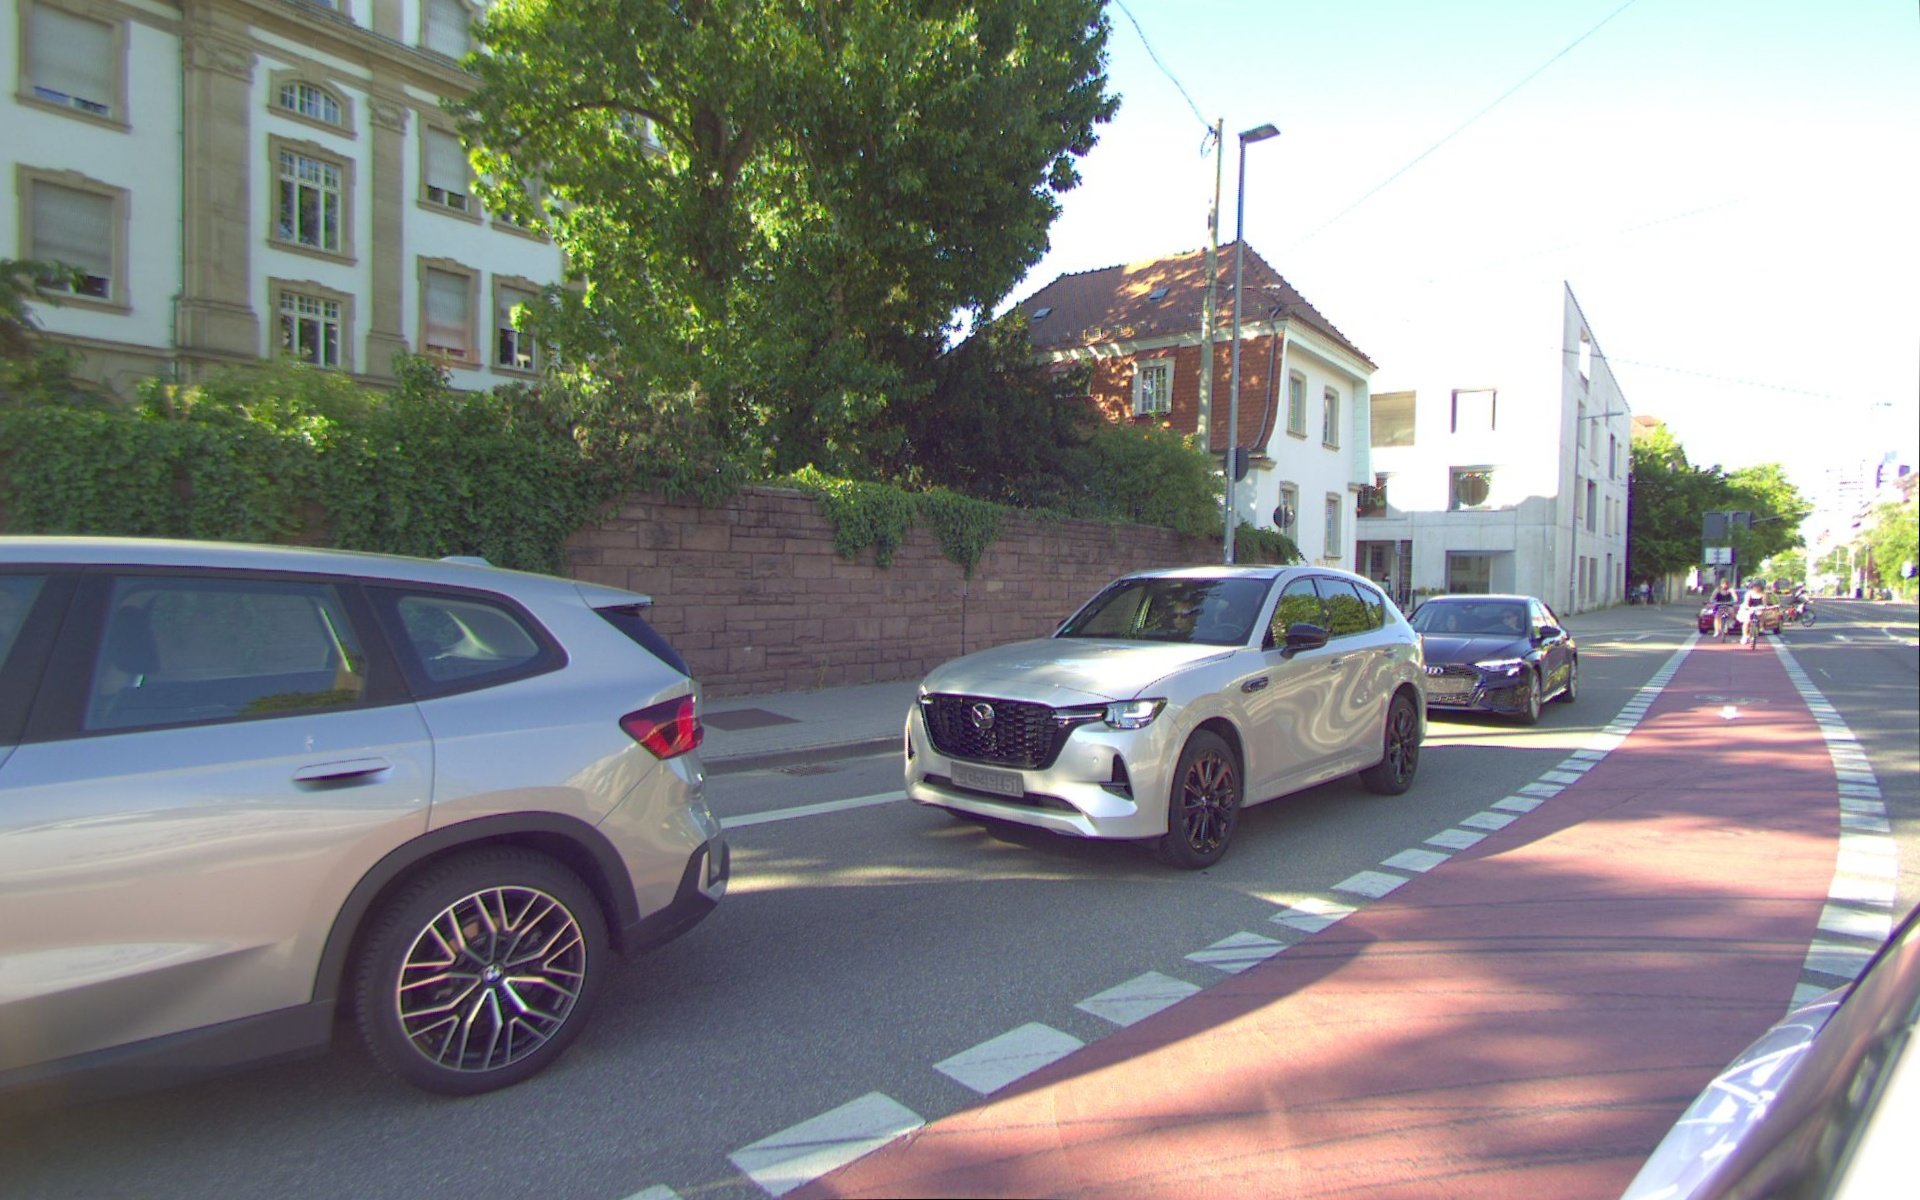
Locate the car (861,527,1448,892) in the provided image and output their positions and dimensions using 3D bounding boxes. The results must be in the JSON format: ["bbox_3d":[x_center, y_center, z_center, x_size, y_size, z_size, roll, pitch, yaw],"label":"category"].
[{"bbox_3d":[1.630,0.487,7.059,1.940,1.713,4.460,0,1,44],"label":"car"}]

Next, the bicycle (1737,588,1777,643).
[{"bbox_3d":[19.529,0.351,24.779,0.673,1.265,2.421,2,2,40],"label":"bicycle"}]

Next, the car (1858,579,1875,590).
[{"bbox_3d":[139.268,-2.366,155.534,1.640,1.580,3.602,0,0,36],"label":"car"}]

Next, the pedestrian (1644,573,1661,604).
[{"bbox_3d":[38.839,-0.646,56.738,0.673,1.668,0.806,1,1,40],"label":"pedestrian"}]

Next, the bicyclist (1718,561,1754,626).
[{"bbox_3d":[20.511,-0.190,26.741,0.673,1.667,1.014,2,2,40],"label":"bicyclist"}]

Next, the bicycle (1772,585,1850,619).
[{"bbox_3d":[33.816,0.086,40.228,2.411,1.266,0.676,1,1,3],"label":"bicycle"}]

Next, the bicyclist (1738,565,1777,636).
[{"bbox_3d":[19.482,-0.005,24.708,0.673,1.667,1.014,2,2,40],"label":"bicyclist"}]

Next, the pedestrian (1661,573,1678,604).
[{"bbox_3d":[39.359,-0.643,56.167,0.673,1.668,0.806,1,1,40],"label":"pedestrian"}]

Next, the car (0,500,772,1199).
[{"bbox_3d":[-2.875,0.574,2.925,4.248,1.614,1.792,0,0,-36],"label":"car"}]

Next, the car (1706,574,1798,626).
[{"bbox_3d":[25.501,-0.014,32.552,3.585,1.580,1.648,-1,0,-40],"label":"car"}]

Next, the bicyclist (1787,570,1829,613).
[{"bbox_3d":[33.689,-0.345,40.224,1.010,1.667,0.675,1,1,2],"label":"bicyclist"}]

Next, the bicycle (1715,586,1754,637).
[{"bbox_3d":[20.522,0.265,26.790,0.673,1.265,2.421,2,2,40],"label":"bicycle"}]

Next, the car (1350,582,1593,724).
[{"bbox_3d":[6.392,0.517,12.438,1.782,1.451,3.941,0,1,41],"label":"car"}]
